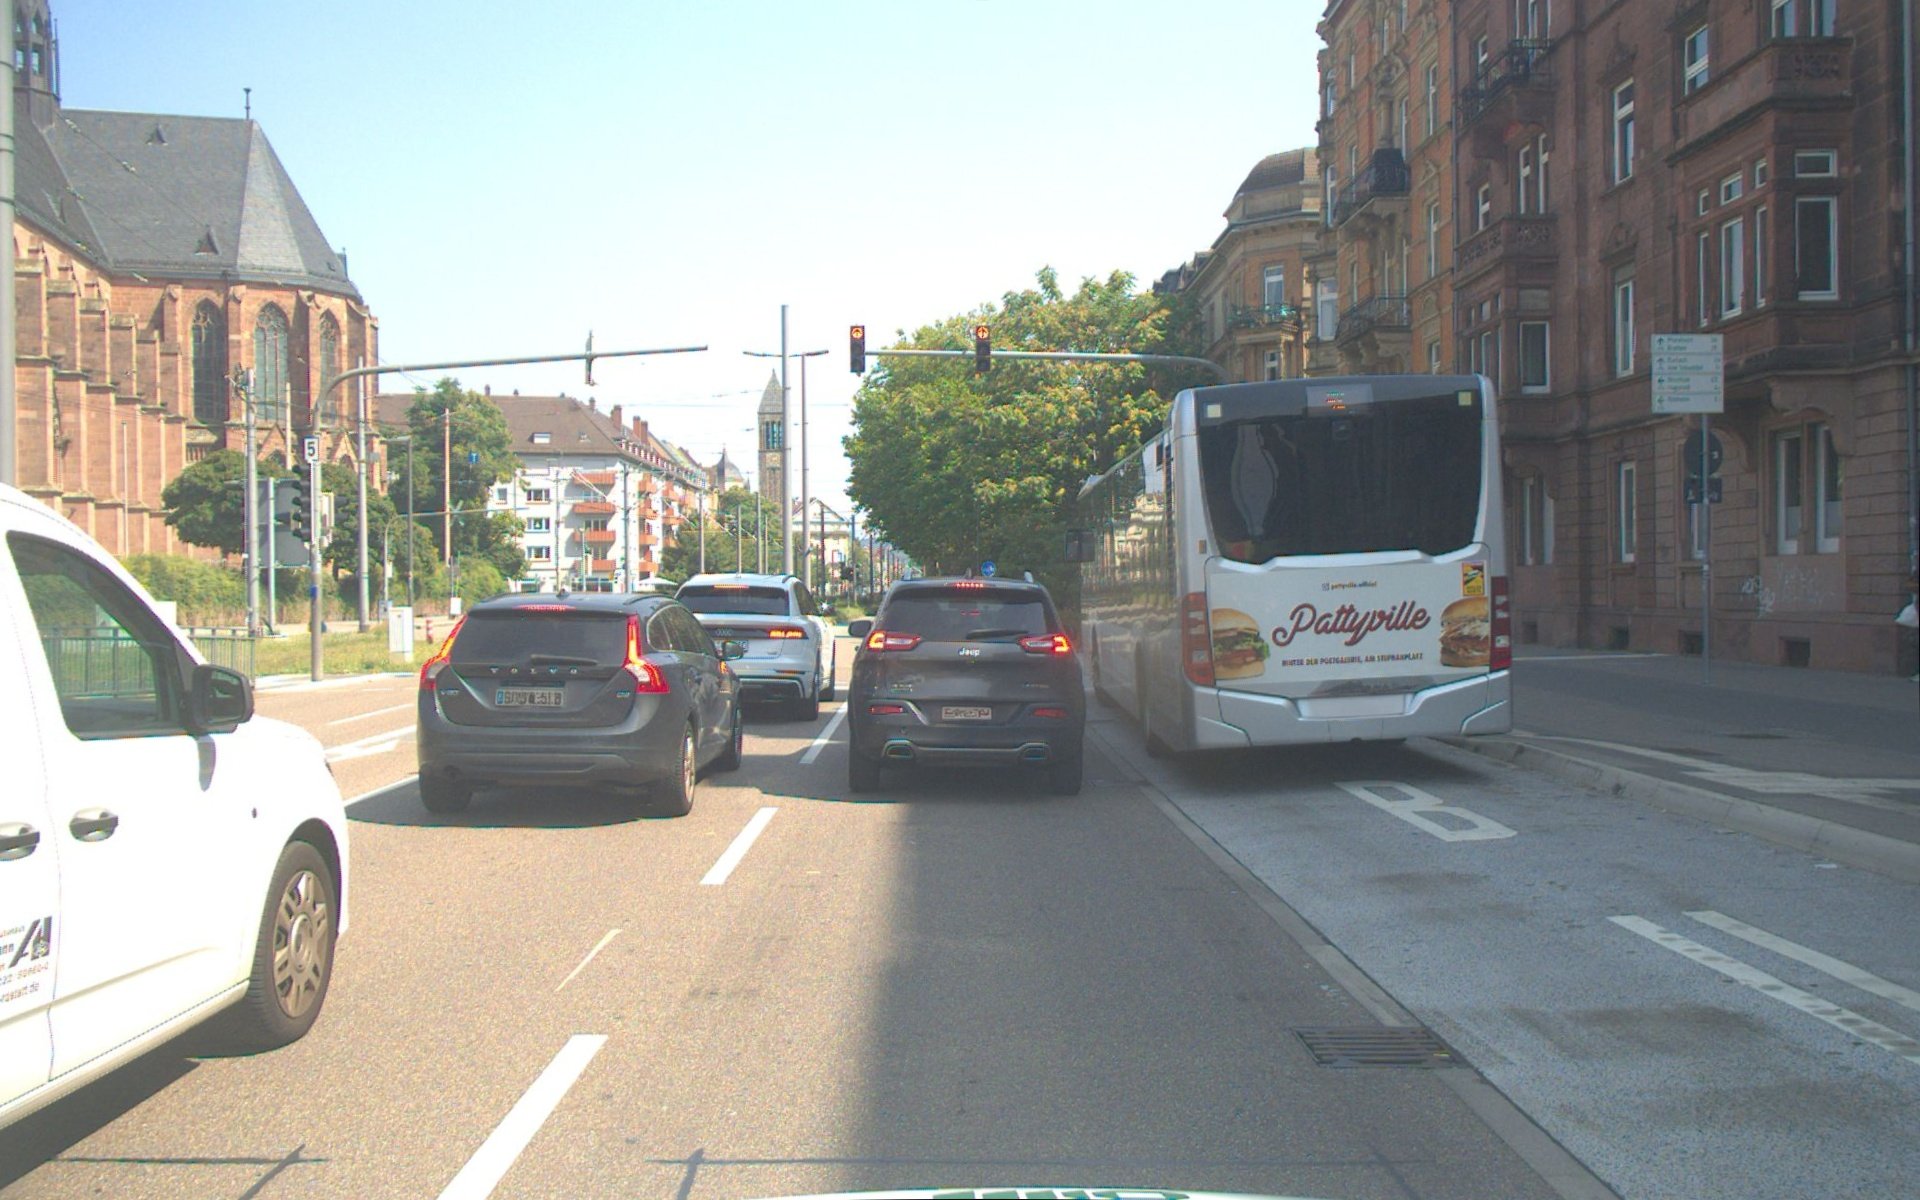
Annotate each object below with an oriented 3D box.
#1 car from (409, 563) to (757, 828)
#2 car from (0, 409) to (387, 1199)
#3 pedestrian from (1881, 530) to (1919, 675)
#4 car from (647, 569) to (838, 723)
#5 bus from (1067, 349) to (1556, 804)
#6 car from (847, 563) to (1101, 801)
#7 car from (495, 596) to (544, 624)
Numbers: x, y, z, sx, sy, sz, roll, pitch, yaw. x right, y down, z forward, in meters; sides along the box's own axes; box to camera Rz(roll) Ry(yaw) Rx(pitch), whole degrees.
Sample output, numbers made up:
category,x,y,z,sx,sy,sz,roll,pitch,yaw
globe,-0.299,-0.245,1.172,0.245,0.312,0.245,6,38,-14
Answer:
category,x,y,z,sx,sy,sz,roll,pitch,yaw
car,-2.615,0.584,12.471,1.712,1.642,4.307,1,0,-1
car,-2.940,0.509,4.002,1.712,1.852,4.238,0,0,-1
pedestrian,12.274,0.028,20.920,0.858,1.809,0.736,-1,0,-29
car,-2.537,0.483,20.284,1.864,1.680,4.307,0,0,-1
bus,2.942,-0.191,18.019,2.687,3.161,11.956,-3,0,0
car,0.089,0.570,13.957,1.795,1.680,4.308,1,0,0
car,-25.162,0.528,94.662,1.711,1.460,4.571,-2,1,-3
